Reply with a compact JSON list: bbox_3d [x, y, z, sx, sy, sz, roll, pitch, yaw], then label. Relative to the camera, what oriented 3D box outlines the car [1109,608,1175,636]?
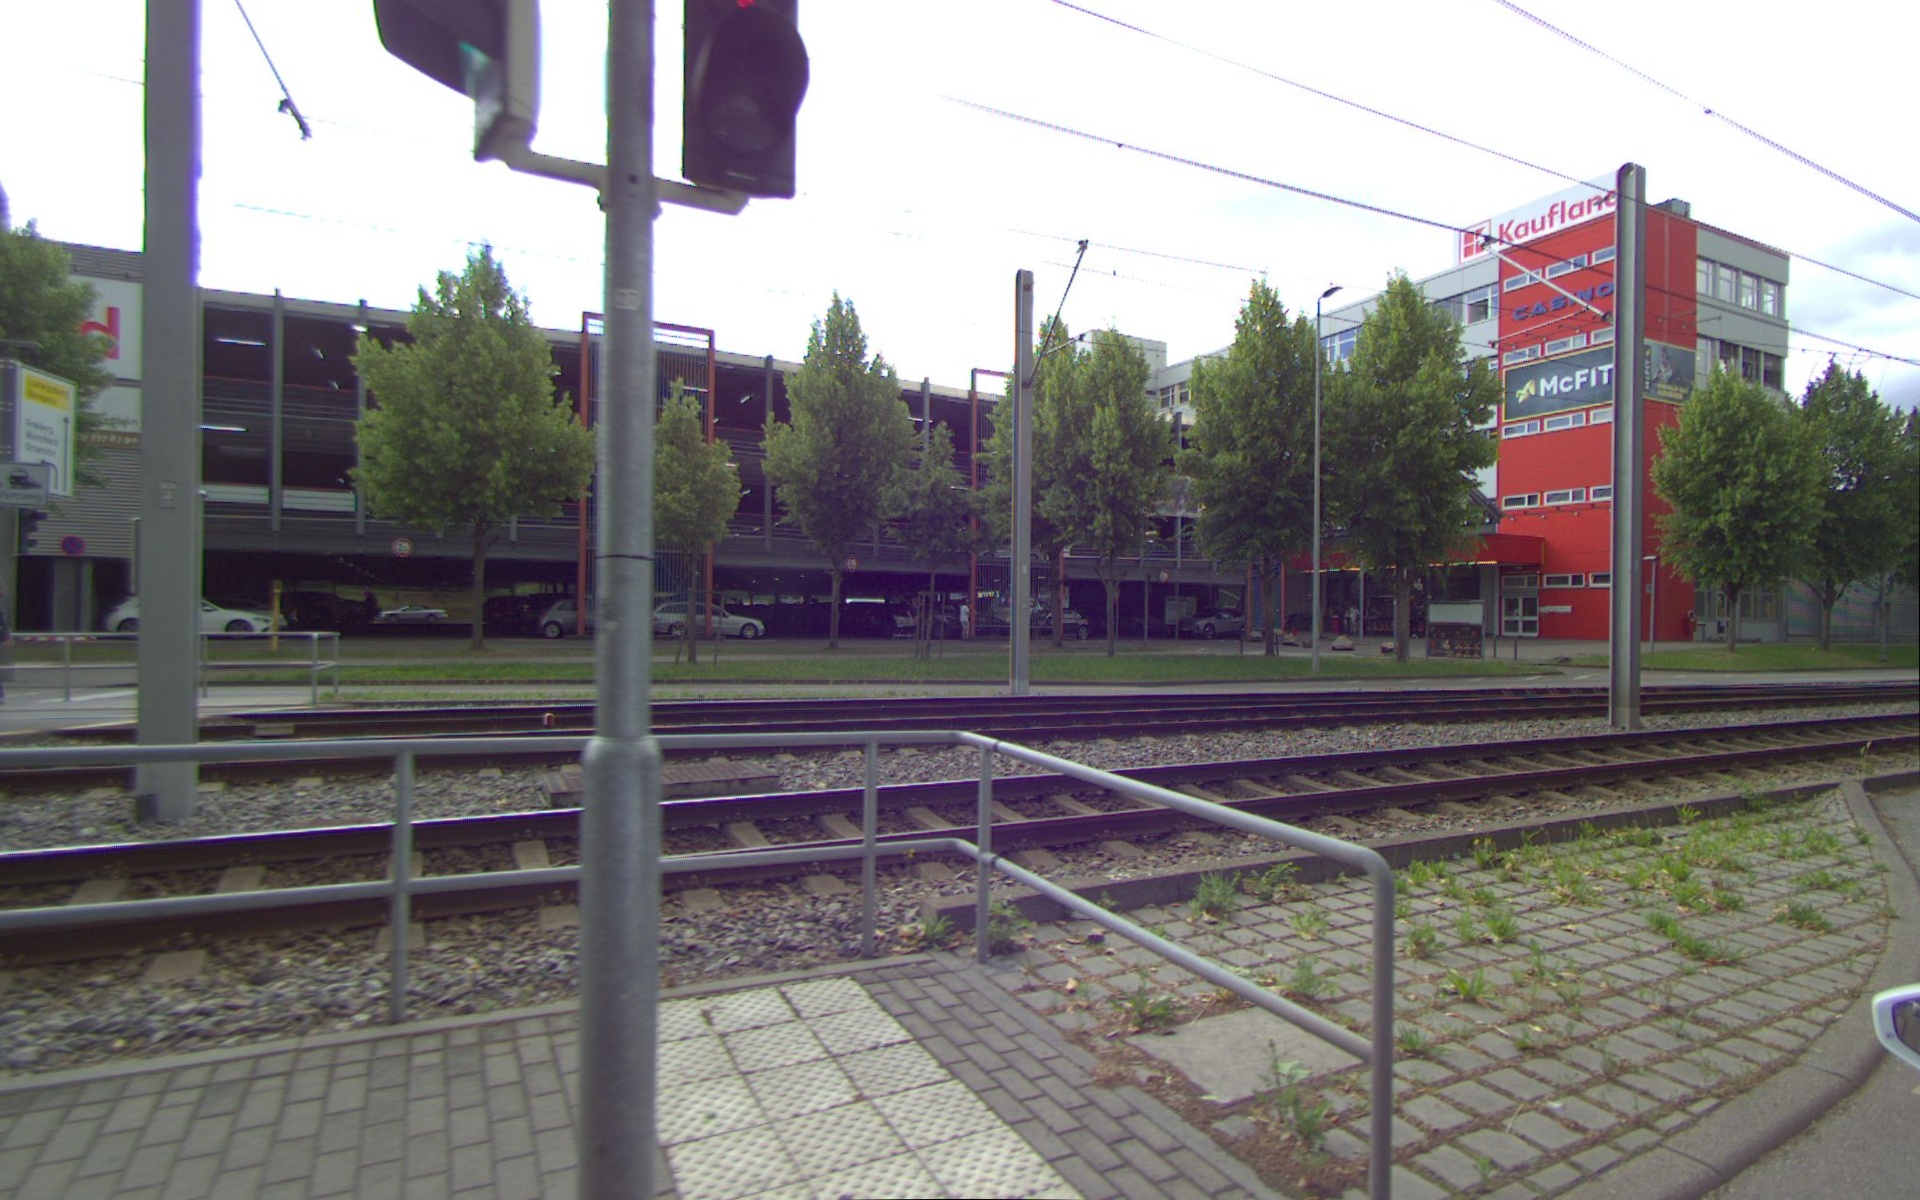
[{"bbox_3d":[10.778,1.316,59.404,3.598,1.572,1.759,2,-3,-30],"label":"car"}]

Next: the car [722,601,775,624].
[{"bbox_3d":[-15.611,0.952,74.202,3.484,1.634,1.835,1,-1,-26],"label":"car"}]

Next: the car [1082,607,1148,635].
[{"bbox_3d":[9.459,1.309,61.225,3.766,1.572,1.666,2,-3,-30],"label":"car"}]

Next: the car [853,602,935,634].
[{"bbox_3d":[-3.242,0.895,49.352,3.629,1.495,1.666,1,-1,-28],"label":"car"}]

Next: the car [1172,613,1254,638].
[{"bbox_3d":[13.290,1.338,52.683,4.395,1.243,1.448,2,-1,-29],"label":"car"}]

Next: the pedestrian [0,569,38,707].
[{"bbox_3d":[-11.970,0.474,12.528,0.458,1.684,0.516,1,-2,-17],"label":"pedestrian"}]

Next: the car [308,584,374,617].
[{"bbox_3d":[-40.799,0.053,66.318,3.484,2.040,1.835,1,-1,-26],"label":"car"}]

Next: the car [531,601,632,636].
[{"bbox_3d":[-14.275,0.701,37.917,3.429,1.240,1.433,1,-1,-27],"label":"car"}]

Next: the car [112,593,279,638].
[{"bbox_3d":[-24.352,0.506,32.190,4.023,1.342,1.628,1,-1,-29],"label":"car"}]

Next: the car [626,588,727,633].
[{"bbox_3d":[-12.585,0.497,44.636,4.003,1.838,1.834,2,-3,-29],"label":"car"}]

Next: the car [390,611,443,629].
[{"bbox_3d":[-43.321,1.609,80.090,3.645,1.418,1.431,2,-3,-31],"label":"car"}]

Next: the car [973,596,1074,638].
[{"bbox_3d":[3.153,0.870,49.772,4.808,1.913,1.666,2,-1,-28],"label":"car"}]

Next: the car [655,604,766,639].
[{"bbox_3d":[-9.942,0.869,40.115,4.023,1.322,1.628,1,-1,-29],"label":"car"}]

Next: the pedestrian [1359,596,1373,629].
[{"bbox_3d":[25.239,0.781,62.458,0.546,2.040,0.599,1,-2,-26],"label":"pedestrian"}]

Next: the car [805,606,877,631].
[{"bbox_3d":[-6.563,1.022,55.538,3.629,1.302,1.666,1,-1,-28],"label":"car"}]

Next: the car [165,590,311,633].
[{"bbox_3d":[-26.651,0.456,37.256,4.146,1.451,1.834,2,-3,-29],"label":"car"}]

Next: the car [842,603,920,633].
[{"bbox_3d":[-4.078,0.920,51.918,3.629,1.495,1.666,1,-1,-28],"label":"car"}]

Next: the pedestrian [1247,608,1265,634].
[{"bbox_3d":[19.344,1.371,65.672,0.856,1.717,0.734,2,-3,-28],"label":"pedestrian"}]

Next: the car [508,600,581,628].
[{"bbox_3d":[-20.151,0.705,48.756,3.176,1.240,1.433,2,-3,-28],"label":"car"}]

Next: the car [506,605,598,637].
[{"bbox_3d":[-17.061,0.888,42.001,3.430,1.240,1.433,2,-3,-28],"label":"car"}]

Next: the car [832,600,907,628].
[{"bbox_3d":[-4.849,0.757,53.823,3.629,1.437,1.667,0,-2,-28],"label":"car"}]

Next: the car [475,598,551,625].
[{"bbox_3d":[-24.448,0.644,54.952,3.701,1.386,1.628,2,-3,-28],"label":"car"}]

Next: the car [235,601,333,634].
[{"bbox_3d":[-27.740,0.738,41.316,3.176,1.240,1.433,2,-3,-28],"label":"car"}]

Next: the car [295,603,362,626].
[{"bbox_3d":[-36.941,0.874,58.824,3.176,1.240,1.433,2,-3,-28],"label":"car"}]

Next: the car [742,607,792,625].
[{"bbox_3d":[-13.510,1.135,70.467,3.176,1.240,1.433,1,-1,-28],"label":"car"}]

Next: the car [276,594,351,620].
[{"bbox_3d":[-33.871,0.371,52.693,3.176,1.240,1.433,1,-1,-28],"label":"car"}]

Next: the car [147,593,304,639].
[{"bbox_3d":[-25.487,0.597,35.046,4.146,1.451,1.834,2,-3,-29],"label":"car"}]

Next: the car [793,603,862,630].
[{"bbox_3d":[-7.660,0.942,58.137,3.629,1.495,1.666,1,-1,-28],"label":"car"}]

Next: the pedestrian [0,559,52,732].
[{"bbox_3d":[-9.582,0.433,9.706,0.926,1.632,0.712,1,-2,-17],"label":"pedestrian"}]

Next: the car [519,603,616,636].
[{"bbox_3d":[-15.593,0.804,39.912,3.430,1.240,1.433,2,-3,-28],"label":"car"}]

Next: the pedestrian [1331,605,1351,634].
[{"bbox_3d":[22.849,1.187,60.289,0.856,1.717,0.734,2,-3,-28],"label":"pedestrian"}]

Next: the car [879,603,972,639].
[{"bbox_3d":[-1.474,0.906,43.183,3.629,1.495,1.666,1,-1,-28],"label":"car"}]

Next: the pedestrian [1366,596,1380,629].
[{"bbox_3d":[25.768,0.810,62.724,0.546,2.040,0.599,1,-2,-26],"label":"pedestrian"}]

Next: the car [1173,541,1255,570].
[{"bbox_3d":[13.364,-2.296,52.729,4.395,1.243,1.430,2,-1,-29],"label":"car"}]

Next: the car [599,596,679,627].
[{"bbox_3d":[-17.848,0.665,55.878,3.950,1.596,1.808,2,-3,-28],"label":"car"}]

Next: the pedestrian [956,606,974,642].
[{"bbox_3d":[0.211,1.014,42.837,0.606,1.526,0.419,1,0,-27],"label":"pedestrian"}]

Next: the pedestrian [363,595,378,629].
[{"bbox_3d":[-35.428,0.741,60.414,0.721,2.040,0.518,2,-3,-30],"label":"pedestrian"}]

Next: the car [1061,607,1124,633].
[{"bbox_3d":[8.369,1.241,63.397,3.632,1.572,1.665,1,-1,-30],"label":"car"}]

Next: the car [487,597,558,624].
[{"bbox_3d":[-22.024,0.528,50.563,3.176,1.240,1.433,2,-3,-28],"label":"car"}]
